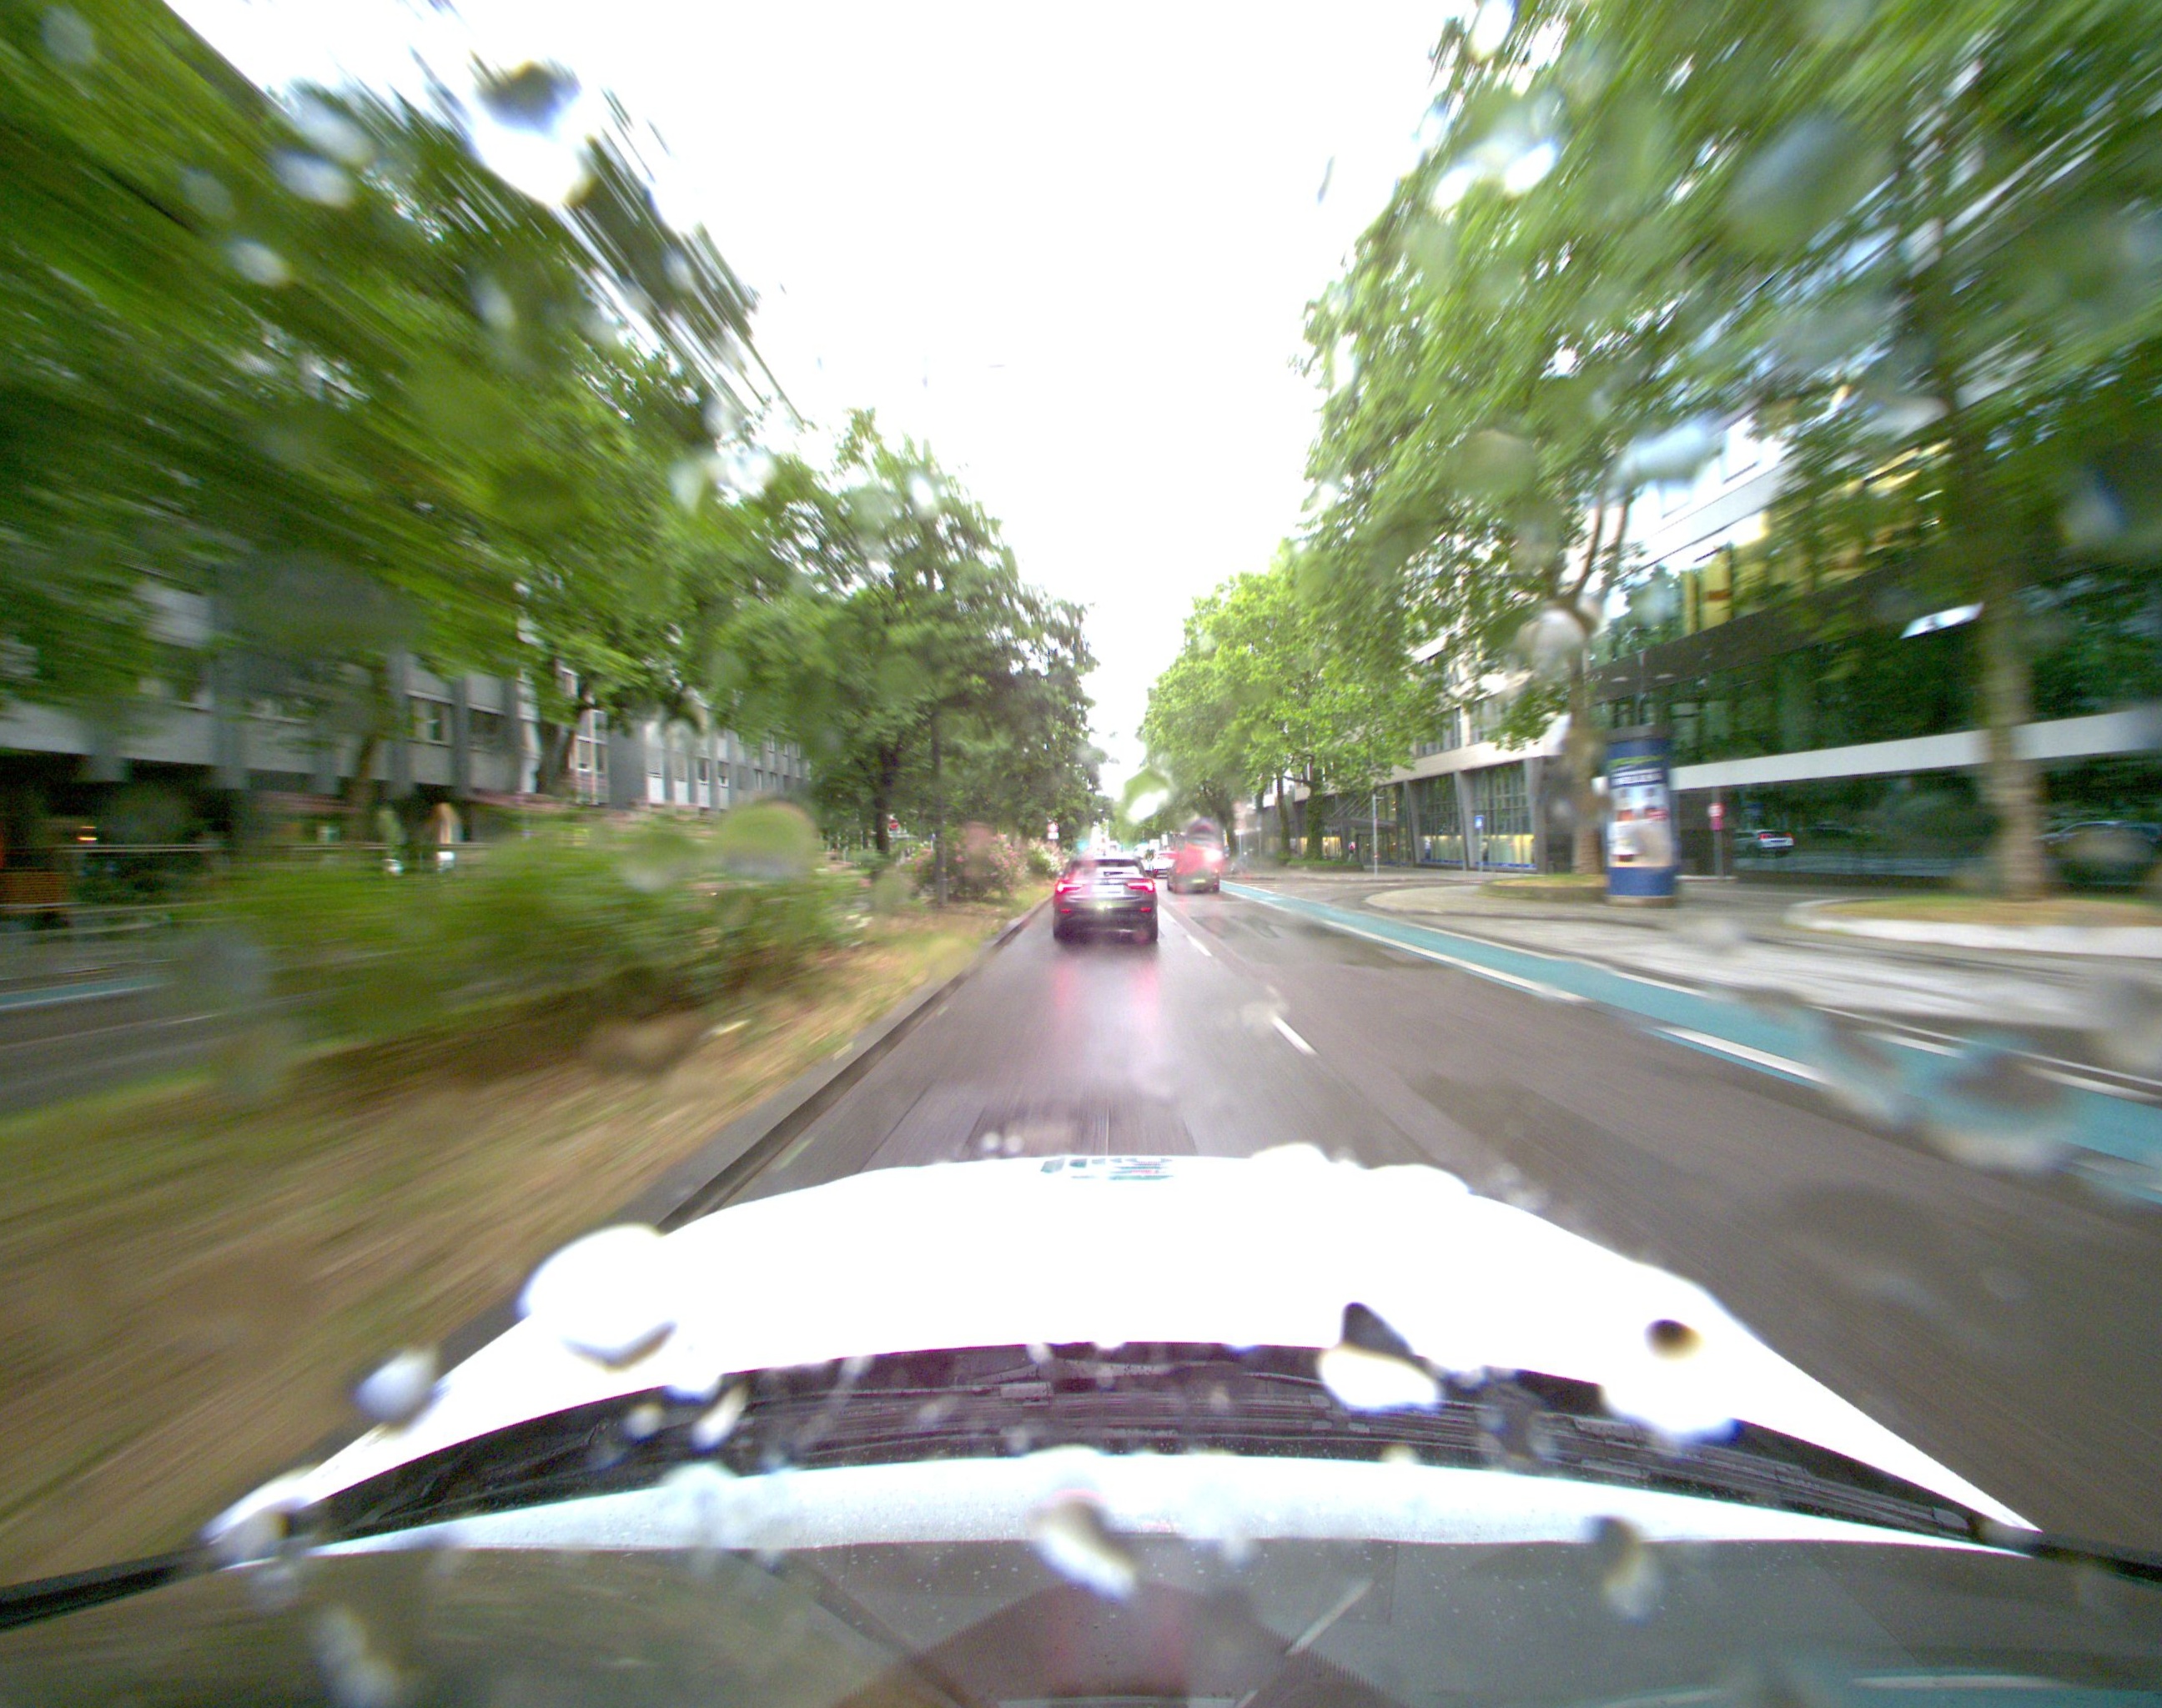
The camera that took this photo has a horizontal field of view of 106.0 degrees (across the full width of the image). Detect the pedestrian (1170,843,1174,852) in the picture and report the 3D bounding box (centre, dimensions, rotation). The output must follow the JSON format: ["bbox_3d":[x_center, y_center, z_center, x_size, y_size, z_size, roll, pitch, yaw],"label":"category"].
[{"bbox_3d":[18.205,-1.267,162.920,0.802,1.696,1.187,-1,0,1],"label":"pedestrian"}]

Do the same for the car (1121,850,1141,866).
[{"bbox_3d":[5.046,0.370,82.300,1.843,1.523,4.039,-1,0,1],"label":"car"}]

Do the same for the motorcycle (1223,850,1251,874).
[{"bbox_3d":[9.703,0.505,50.678,0.676,1.367,1.958,-6,-1,41],"label":"motorcycle"}]

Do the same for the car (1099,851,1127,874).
[{"bbox_3d":[2.202,0.554,56.856,1.843,1.523,4.039,-1,0,1],"label":"car"}]

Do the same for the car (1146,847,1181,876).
[{"bbox_3d":[5.029,0.443,50.056,1.843,1.669,4.039,-1,0,1],"label":"car"}]

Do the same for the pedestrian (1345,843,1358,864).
[{"bbox_3d":[23.031,-0.046,69.272,0.720,1.693,0.833,-2,1,44],"label":"pedestrian"}]

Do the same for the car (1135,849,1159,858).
[{"bbox_3d":[10.999,-0.077,135.058,3.618,1.547,1.723,-1,0,20],"label":"car"}]

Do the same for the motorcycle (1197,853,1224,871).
[{"bbox_3d":[10.204,0.627,64.127,2.069,1.212,0.677,-4,0,-35],"label":"motorcycle"}]

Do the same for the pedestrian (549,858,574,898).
[{"bbox_3d":[-22.258,1.016,34.903,0.561,1.708,0.686,-1,0,1],"label":"pedestrian"}]

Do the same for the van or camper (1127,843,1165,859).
[{"bbox_3d":[11.227,-0.571,140.969,6.008,2.558,2.117,-2,0,28],"label":"van or camper"}]

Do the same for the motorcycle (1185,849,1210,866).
[{"bbox_3d":[10.120,0.323,70.894,1.962,1.373,0.724,-4,2,-21],"label":"motorcycle"}]

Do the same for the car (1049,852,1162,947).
[{"bbox_3d":[0.427,0.746,15.453,1.843,1.523,4.038,-1,0,0],"label":"car"}]

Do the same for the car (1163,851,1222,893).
[{"bbox_3d":[4.353,0.682,32.336,1.843,1.523,4.039,-1,0,1],"label":"car"}]

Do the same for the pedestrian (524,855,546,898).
[{"bbox_3d":[-23.259,0.960,34.722,0.546,1.807,0.522,-1,0,1],"label":"pedestrian"}]

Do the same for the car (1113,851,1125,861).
[{"bbox_3d":[6.309,0.316,134.194,1.843,1.523,4.039,-1,0,1],"label":"car"}]
